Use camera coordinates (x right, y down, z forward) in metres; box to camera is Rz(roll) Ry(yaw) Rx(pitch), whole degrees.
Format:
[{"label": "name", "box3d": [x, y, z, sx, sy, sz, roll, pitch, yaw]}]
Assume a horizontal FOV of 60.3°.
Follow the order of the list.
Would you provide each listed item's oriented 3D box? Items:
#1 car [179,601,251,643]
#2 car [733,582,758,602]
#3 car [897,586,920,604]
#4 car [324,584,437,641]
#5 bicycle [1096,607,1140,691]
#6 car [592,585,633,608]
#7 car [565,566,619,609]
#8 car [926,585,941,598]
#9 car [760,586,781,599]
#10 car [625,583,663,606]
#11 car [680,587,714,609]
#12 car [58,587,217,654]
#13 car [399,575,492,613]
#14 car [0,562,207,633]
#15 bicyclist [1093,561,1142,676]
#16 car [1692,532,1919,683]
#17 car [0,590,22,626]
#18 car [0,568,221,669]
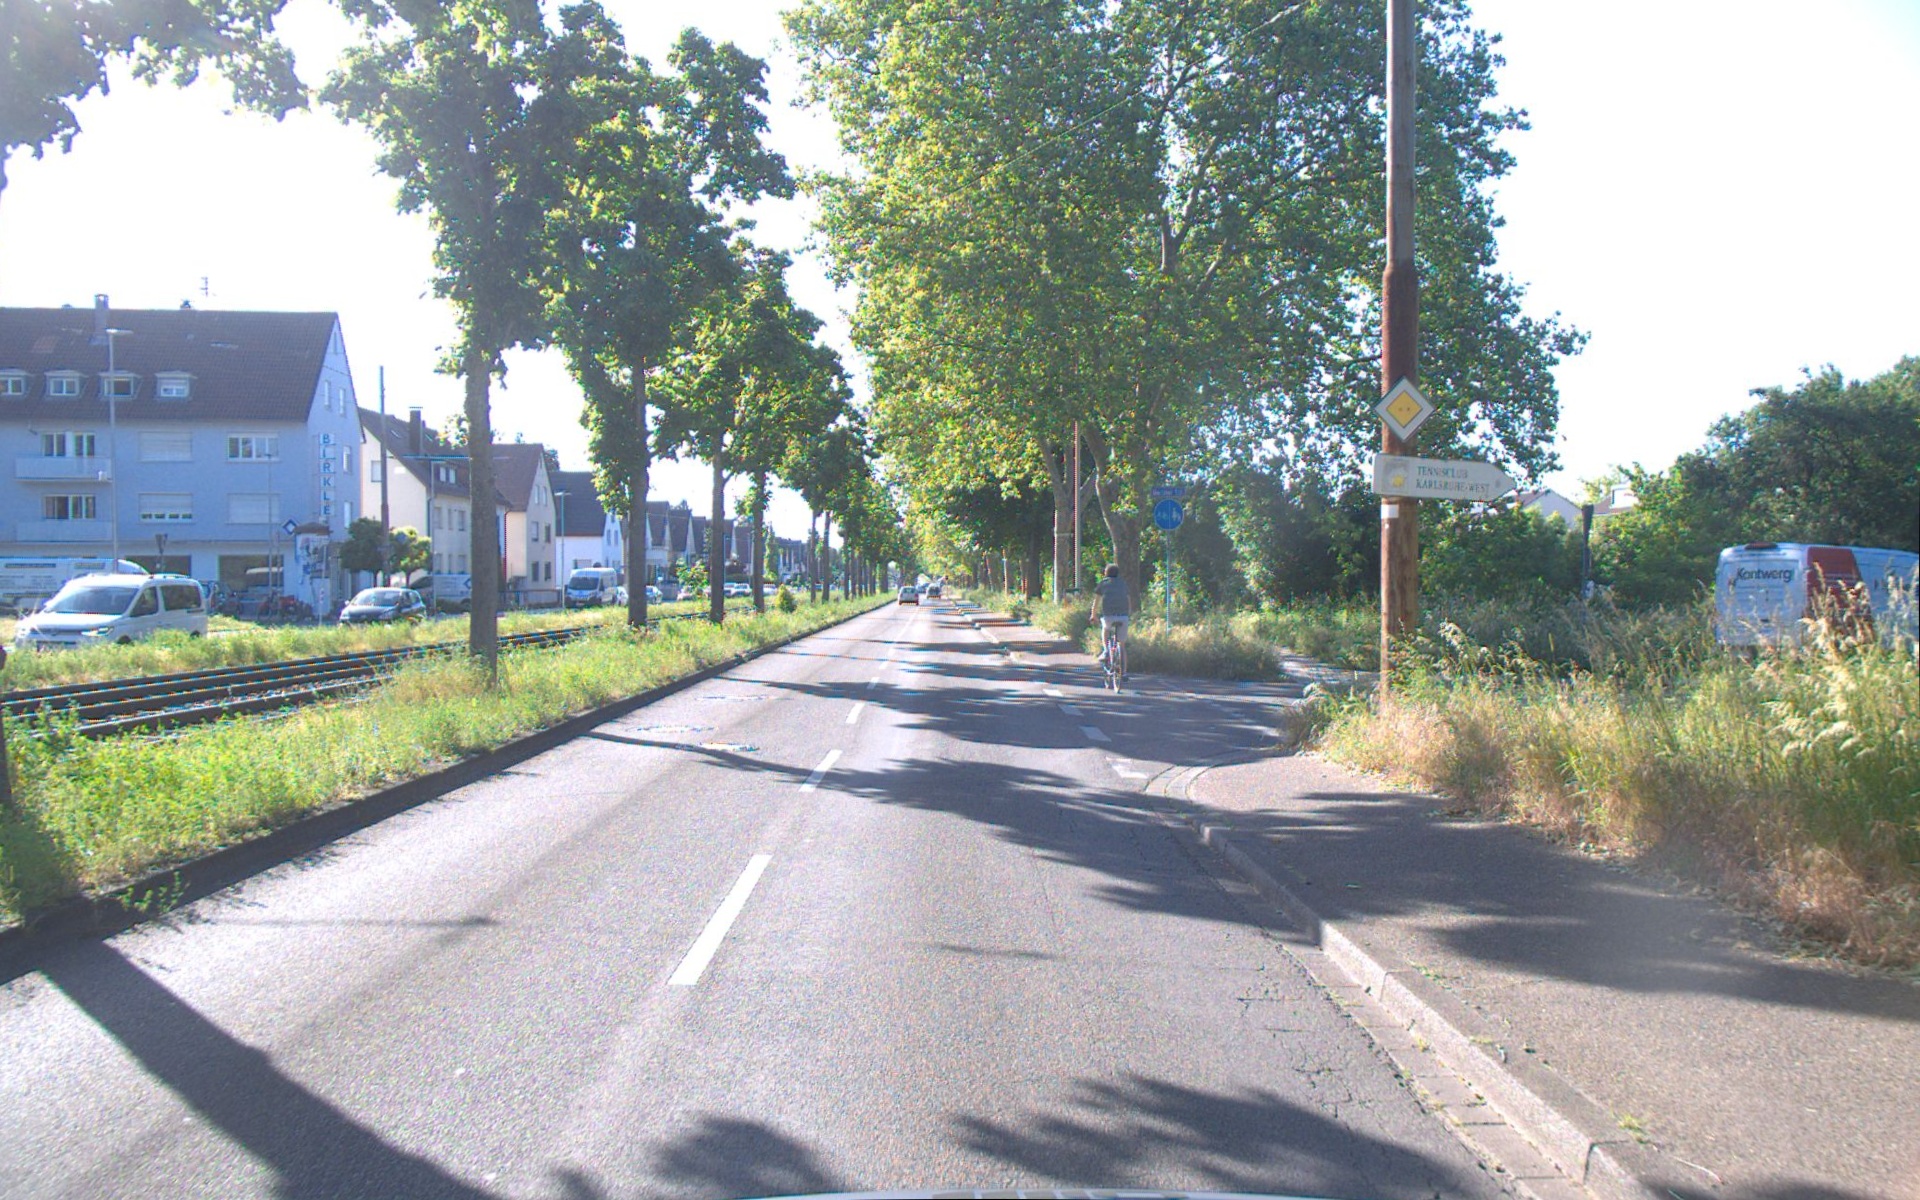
[{"label": "car", "box3d": [-31.648, 0.905, 70.354, 1.762, 1.699, 4.091, 1, 0, -10]}, {"label": "car", "box3d": [-21.033, -0.752, 162.292, 1.876, 1.916, 4.523, 1, 0, 0]}, {"label": "car", "box3d": [-4.059, -0.407, 130.589, 1.703, 1.425, 3.276, 1, 0, -1]}, {"label": "car", "box3d": [-16.837, 0.333, 48.259, 1.952, 1.558, 3.751, -1, 0, 0]}, {"label": "bicycle", "box3d": [2.323, 0.702, 24.417, 0.431, 1.173, 1.823, -1, 0, -1]}, {"label": "car", "box3d": [-22.491, -0.221, 107.203, 1.787, 1.437, 4.656, 1, 0, -1]}, {"label": "car", "box3d": [-22.502, -0.741, 101.340, 1.953, 2.502, 6.673, 1, 0, -1]}, {"label": "car", "box3d": [-3.061, -0.978, 191.294, 1.725, 1.539, 3.276, 1, 0, 0]}, {"label": "car", "box3d": [-24.607, -1.008, 214.599, 1.952, 1.627, 4.733, 1, 0, 2]}, {"label": "car", "box3d": [-23.086, -0.387, 120.955, 1.953, 1.609, 4.498, 1, 1, 0]}, {"label": "car", "box3d": [-17.500, -0.161, 110.222, 1.642, 1.434, 3.999, -1, 0, -1]}, {"label": "car", "box3d": [-21.268, 0.498, 43.004, 1.786, 1.635, 4.773, 1, 0, -1]}, {"label": "car", "box3d": [-27.271, -0.330, 87.847, 4.536, 1.979, 1.994, 0, 0, -12]}, {"label": "car", "box3d": [-32.000, -0.094, 61.439, 6.928, 2.551, 2.328, 0, 0, -6]}, {"label": "bicyclist", "box3d": [2.318, 0.266, 24.386, 0.601, 1.657, 0.909, -1, 0, -1]}, {"label": "car", "box3d": [15.639, 0.136, 29.200, 4.920, 2.481, 2.312, 1, 0, -25]}, {"label": "car", "box3d": [-40.553, 0.348, 68.625, 1.500, 1.474, 3.625, -1, 0, -7]}, {"label": "car", "box3d": [-16.259, 0.323, 31.942, 1.774, 1.775, 4.981, 1, 0, -1]}]
